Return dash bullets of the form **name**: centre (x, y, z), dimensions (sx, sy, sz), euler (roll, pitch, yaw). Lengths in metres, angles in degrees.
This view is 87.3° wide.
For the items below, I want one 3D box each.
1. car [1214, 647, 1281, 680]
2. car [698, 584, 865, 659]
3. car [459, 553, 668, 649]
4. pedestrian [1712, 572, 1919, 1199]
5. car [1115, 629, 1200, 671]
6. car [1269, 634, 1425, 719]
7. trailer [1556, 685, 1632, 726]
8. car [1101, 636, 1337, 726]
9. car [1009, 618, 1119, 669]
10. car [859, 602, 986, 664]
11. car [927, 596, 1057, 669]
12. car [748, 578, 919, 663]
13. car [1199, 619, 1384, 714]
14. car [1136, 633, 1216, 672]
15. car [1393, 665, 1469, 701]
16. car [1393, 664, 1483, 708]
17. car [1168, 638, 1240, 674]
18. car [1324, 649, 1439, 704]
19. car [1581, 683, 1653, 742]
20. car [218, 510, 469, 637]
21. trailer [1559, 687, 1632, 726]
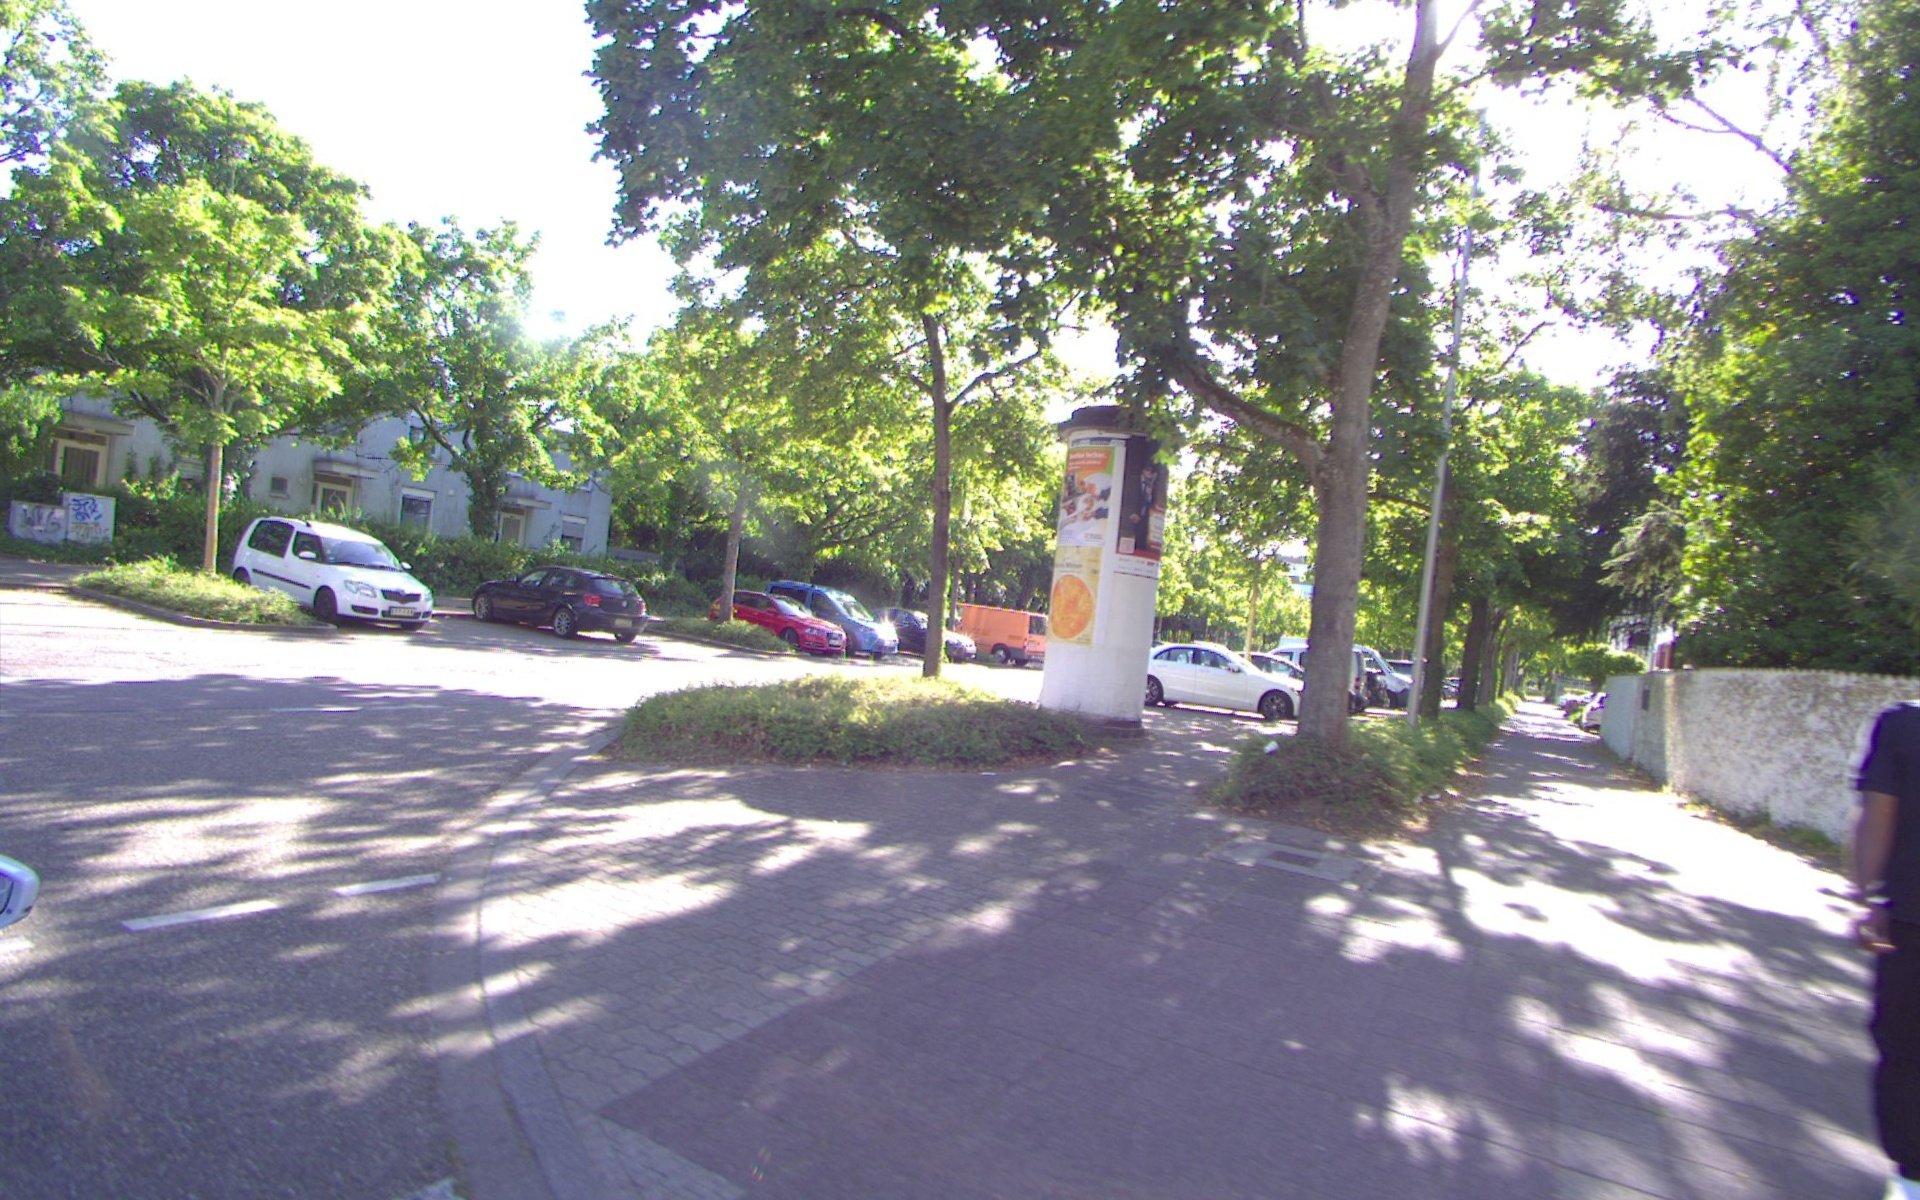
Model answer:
- **car**: centre (21.010, 4.624, 73.586), dimensions (4.186, 1.737, 1.971), euler (8, 1, 29)
- **car**: centre (-4.867, 0.582, 27.344), dimensions (4.096, 1.423, 1.826), euler (8, 1, 29)
- **car**: centre (-8.433, 0.011, 21.357), dimensions (4.096, 1.423, 1.826), euler (8, 1, 29)
- **pedestrian**: centre (2.675, 0.844, 2.629), dimensions (0.824, 1.707, 0.805), euler (8, 2, 28)
- **car**: centre (11.308, 2.854, 57.660), dimensions (4.186, 1.737, 1.971), euler (8, 1, 29)
- **car**: centre (14.568, 2.848, 37.932), dimensions (5.048, 2.407, 1.998), euler (7, -1, 30)
- **trailer**: centre (41.568, 6.892, 66.041), dimensions (3.934, 2.037, 1.997), euler (7, -1, 32)
- **car**: centre (5.644, 1.738, 22.138), dimensions (4.612, 1.423, 1.825), euler (4, -2, 32)
- **car**: centre (4.508, 1.895, 43.821), dimensions (4.186, 1.591, 1.971), euler (8, 1, 29)
- **car**: centre (-1.256, 1.103, 33.536), dimensions (3.721, 1.492, 1.766), euler (8, 1, 29)
- **car**: centre (1.176, 1.206, 37.396), dimensions (4.186, 2.057, 1.971), euler (8, 1, 29)
- **car**: centre (-3.730, 0.583, 29.441), dimensions (4.584, 1.794, 1.826), euler (8, 1, 29)
- **car**: centre (9.463, 1.877, 28.774), dimensions (4.557, 2.015, 1.998), euler (7, -1, 30)
- **car**: centre (13.117, 3.178, 61.189), dimensions (4.186, 1.737, 1.971), euler (8, 1, 29)
- **car**: centre (32.378, 5.692, 69.186), dimensions (4.488, 1.852, 1.998), euler (7, -1, 30)
- **car**: centre (27.910, 5.002, 58.756), dimensions (4.488, 1.852, 1.998), euler (7, -1, 30)
- **car**: centre (16.397, 3.751, 67.658), dimensions (4.186, 1.737, 1.971), euler (8, 1, 29)
- **car**: centre (19.366, 3.515, 46.233), dimensions (4.488, 1.852, 1.998), euler (7, -1, 30)
- **car**: centre (22.819, 3.863, 34.925), dimensions (1.806, 1.634, 4.133), euler (8, 1, 34)
- **car**: centre (-10.722, -0.475, 17.454), dimensions (4.096, 1.618, 1.826), euler (8, 1, 29)
- **trailer**: centre (43.273, 7.227, 68.589), dimensions (3.934, 2.037, 1.997), euler (7, -1, 32)
